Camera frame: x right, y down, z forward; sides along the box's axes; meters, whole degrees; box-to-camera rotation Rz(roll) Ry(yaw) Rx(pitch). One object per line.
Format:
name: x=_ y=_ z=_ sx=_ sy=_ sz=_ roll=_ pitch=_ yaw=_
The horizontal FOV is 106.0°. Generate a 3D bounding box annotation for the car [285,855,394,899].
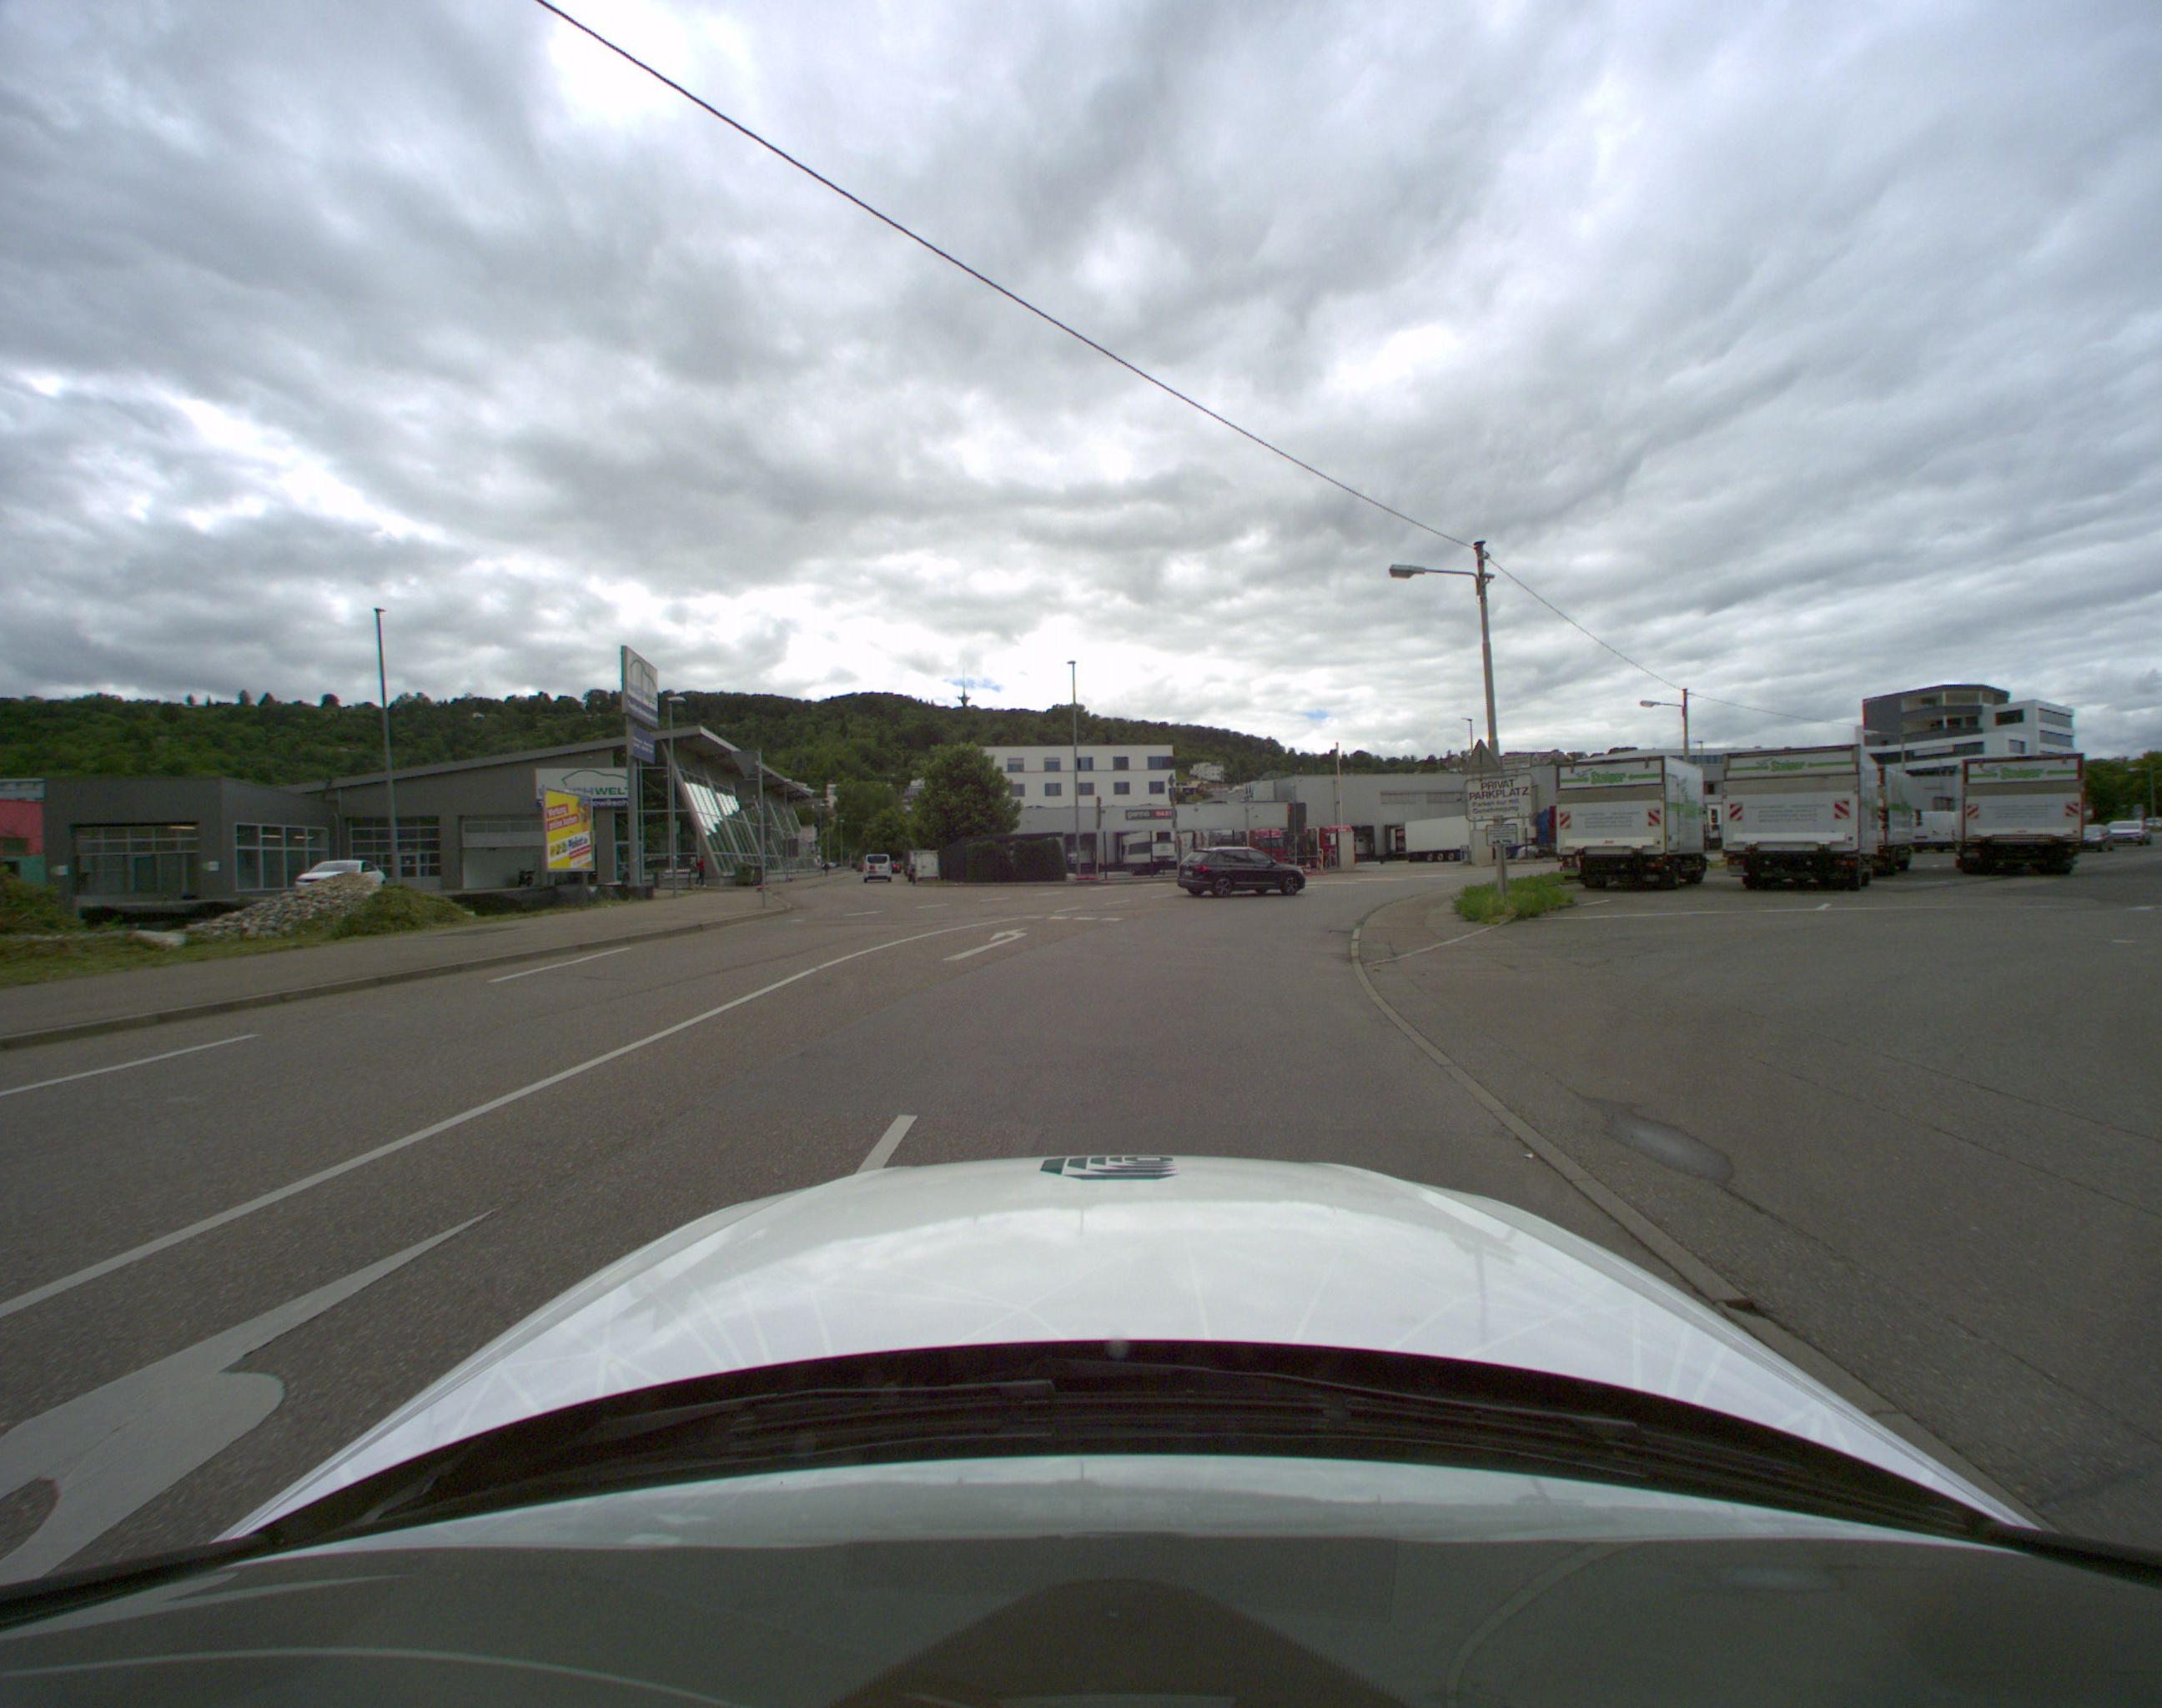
car: x=-28.206 y=0.850 z=31.143 sx=2.004 sy=1.535 sz=3.966 roll=-1 pitch=0 yaw=-26

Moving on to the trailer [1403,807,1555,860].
trailer: x=35.153 y=-1.634 z=73.034 sx=3.037 sy=4.183 sz=13.922 roll=-2 pitch=0 yaw=-20

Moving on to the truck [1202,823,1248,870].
truck: x=12.953 y=-0.612 z=73.706 sx=2.792 sy=4.040 sz=4.152 roll=-2 pitch=-1 yaw=-9

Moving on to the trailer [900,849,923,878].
trailer: x=-18.209 y=1.016 z=87.543 sx=2.280 sy=2.953 sz=3.984 roll=-1 pitch=0 yaw=-12

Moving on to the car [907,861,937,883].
car: x=-11.911 y=1.347 z=60.935 sx=1.996 sy=1.508 sz=4.163 roll=-1 pitch=0 yaw=-13

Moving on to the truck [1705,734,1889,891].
truck: x=20.342 y=-1.054 z=22.901 sx=8.653 sy=3.630 sz=3.035 roll=-1 pitch=2 yaw=-43

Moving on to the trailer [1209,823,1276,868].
trailer: x=15.801 y=-0.724 z=80.906 sx=2.783 sy=4.078 sz=10.960 roll=-2 pitch=-1 yaw=-9

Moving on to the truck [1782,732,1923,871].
truck: x=28.395 y=-1.698 z=29.795 sx=8.833 sy=4.350 sz=3.035 roll=-1 pitch=-1 yaw=-43

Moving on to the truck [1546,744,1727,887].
truck: x=17.156 y=-0.996 z=24.835 sx=3.034 sy=3.631 sz=8.656 roll=-2 pitch=-1 yaw=44

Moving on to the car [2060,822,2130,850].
car: x=56.807 y=-1.025 z=45.613 sx=4.443 sy=1.445 sz=1.877 roll=-2 pitch=1 yaw=-31

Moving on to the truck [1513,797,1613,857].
truck: x=34.554 y=-1.891 z=58.345 sx=6.960 sy=4.020 sz=2.904 roll=-2 pitch=-1 yaw=-29

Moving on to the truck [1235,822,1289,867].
truck: x=16.625 y=-0.820 z=75.250 sx=2.792 sy=3.928 sz=5.907 roll=-2 pitch=-1 yaw=-9

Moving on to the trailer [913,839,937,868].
trailer: x=-21.059 y=-0.024 z=110.047 sx=3.070 sy=3.759 sz=4.914 roll=-1 pitch=0 yaw=-12

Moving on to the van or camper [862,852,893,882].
van or camper: x=-15.115 y=1.002 z=60.407 sx=2.103 sy=2.083 sz=4.182 roll=-2 pitch=-1 yaw=-16

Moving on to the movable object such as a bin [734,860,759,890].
movable object such as a bin: x=-20.141 y=1.261 z=49.102 sx=1.142 sy=1.757 sz=1.055 roll=-2 pitch=-1 yaw=-10

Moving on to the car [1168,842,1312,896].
car: x=5.305 y=0.461 z=27.326 sx=4.372 sy=1.684 sz=1.986 roll=0 pitch=0 yaw=-21

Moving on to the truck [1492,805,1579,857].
truck: x=37.373 y=-1.830 z=67.062 sx=2.948 sy=4.020 sz=5.546 roll=-1 pitch=-1 yaw=-44

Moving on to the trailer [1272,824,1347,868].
trailer: x=22.670 y=-0.690 z=81.545 sx=2.783 sy=4.078 sz=10.960 roll=-2 pitch=-1 yaw=-9

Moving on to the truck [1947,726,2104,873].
truck: x=34.041 y=-1.748 z=29.736 sx=9.841 sy=4.538 sz=3.035 roll=-1 pitch=-1 yaw=-44

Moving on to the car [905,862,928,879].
car: x=-15.550 y=1.536 z=77.175 sx=1.994 sy=1.508 sz=3.986 roll=-1 pitch=0 yaw=-10

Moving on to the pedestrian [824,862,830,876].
pedestrian: x=-29.779 y=1.762 z=95.553 sx=0.628 sy=1.673 sz=0.754 roll=-2 pitch=-1 yaw=-15

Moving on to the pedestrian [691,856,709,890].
pedestrian: x=-21.710 y=1.074 z=46.402 sx=0.829 sy=1.868 sz=0.713 roll=-3 pitch=0 yaw=-23

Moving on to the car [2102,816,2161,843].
car: x=68.447 y=-1.607 z=53.070 sx=4.444 sy=1.612 sz=1.876 roll=-1 pitch=0 yaw=-32

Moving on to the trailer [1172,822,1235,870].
trailer: x=11.914 y=-0.665 z=80.297 sx=2.783 sy=4.301 sz=11.145 roll=-2 pitch=-1 yaw=-9

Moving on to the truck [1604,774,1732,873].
truck: x=24.815 y=-1.179 z=34.213 sx=3.034 sy=3.631 sz=8.656 roll=-2 pitch=-1 yaw=44

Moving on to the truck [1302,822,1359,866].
truck: x=23.353 y=-0.891 z=76.536 sx=2.792 sy=3.928 sz=5.907 roll=-2 pitch=-1 yaw=-9

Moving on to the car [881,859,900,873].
car: x=-24.942 y=1.578 z=106.634 sx=1.993 sy=1.684 sz=3.987 roll=-2 pitch=-1 yaw=-9

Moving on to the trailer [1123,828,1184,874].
trailer: x=6.822 y=-0.175 z=79.017 sx=3.080 sy=4.078 sz=11.372 roll=-2 pitch=-1 yaw=-9

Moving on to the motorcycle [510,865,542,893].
motorcycle: x=-34.967 y=1.544 z=51.378 sx=0.841 sy=1.710 sz=2.352 roll=-2 pitch=0 yaw=-13

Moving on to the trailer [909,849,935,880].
trailer: x=-12.989 y=0.827 z=66.388 sx=1.995 sy=2.343 sz=3.984 roll=-1 pitch=0 yaw=-12

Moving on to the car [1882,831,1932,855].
car: x=68.880 y=-0.919 z=67.876 sx=4.013 sy=1.750 sz=1.980 roll=-3 pitch=0 yaw=-31

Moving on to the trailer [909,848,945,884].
trailer: x=-9.251 y=0.681 z=48.927 sx=1.995 sy=2.013 sz=3.984 roll=-1 pitch=0 yaw=-12
